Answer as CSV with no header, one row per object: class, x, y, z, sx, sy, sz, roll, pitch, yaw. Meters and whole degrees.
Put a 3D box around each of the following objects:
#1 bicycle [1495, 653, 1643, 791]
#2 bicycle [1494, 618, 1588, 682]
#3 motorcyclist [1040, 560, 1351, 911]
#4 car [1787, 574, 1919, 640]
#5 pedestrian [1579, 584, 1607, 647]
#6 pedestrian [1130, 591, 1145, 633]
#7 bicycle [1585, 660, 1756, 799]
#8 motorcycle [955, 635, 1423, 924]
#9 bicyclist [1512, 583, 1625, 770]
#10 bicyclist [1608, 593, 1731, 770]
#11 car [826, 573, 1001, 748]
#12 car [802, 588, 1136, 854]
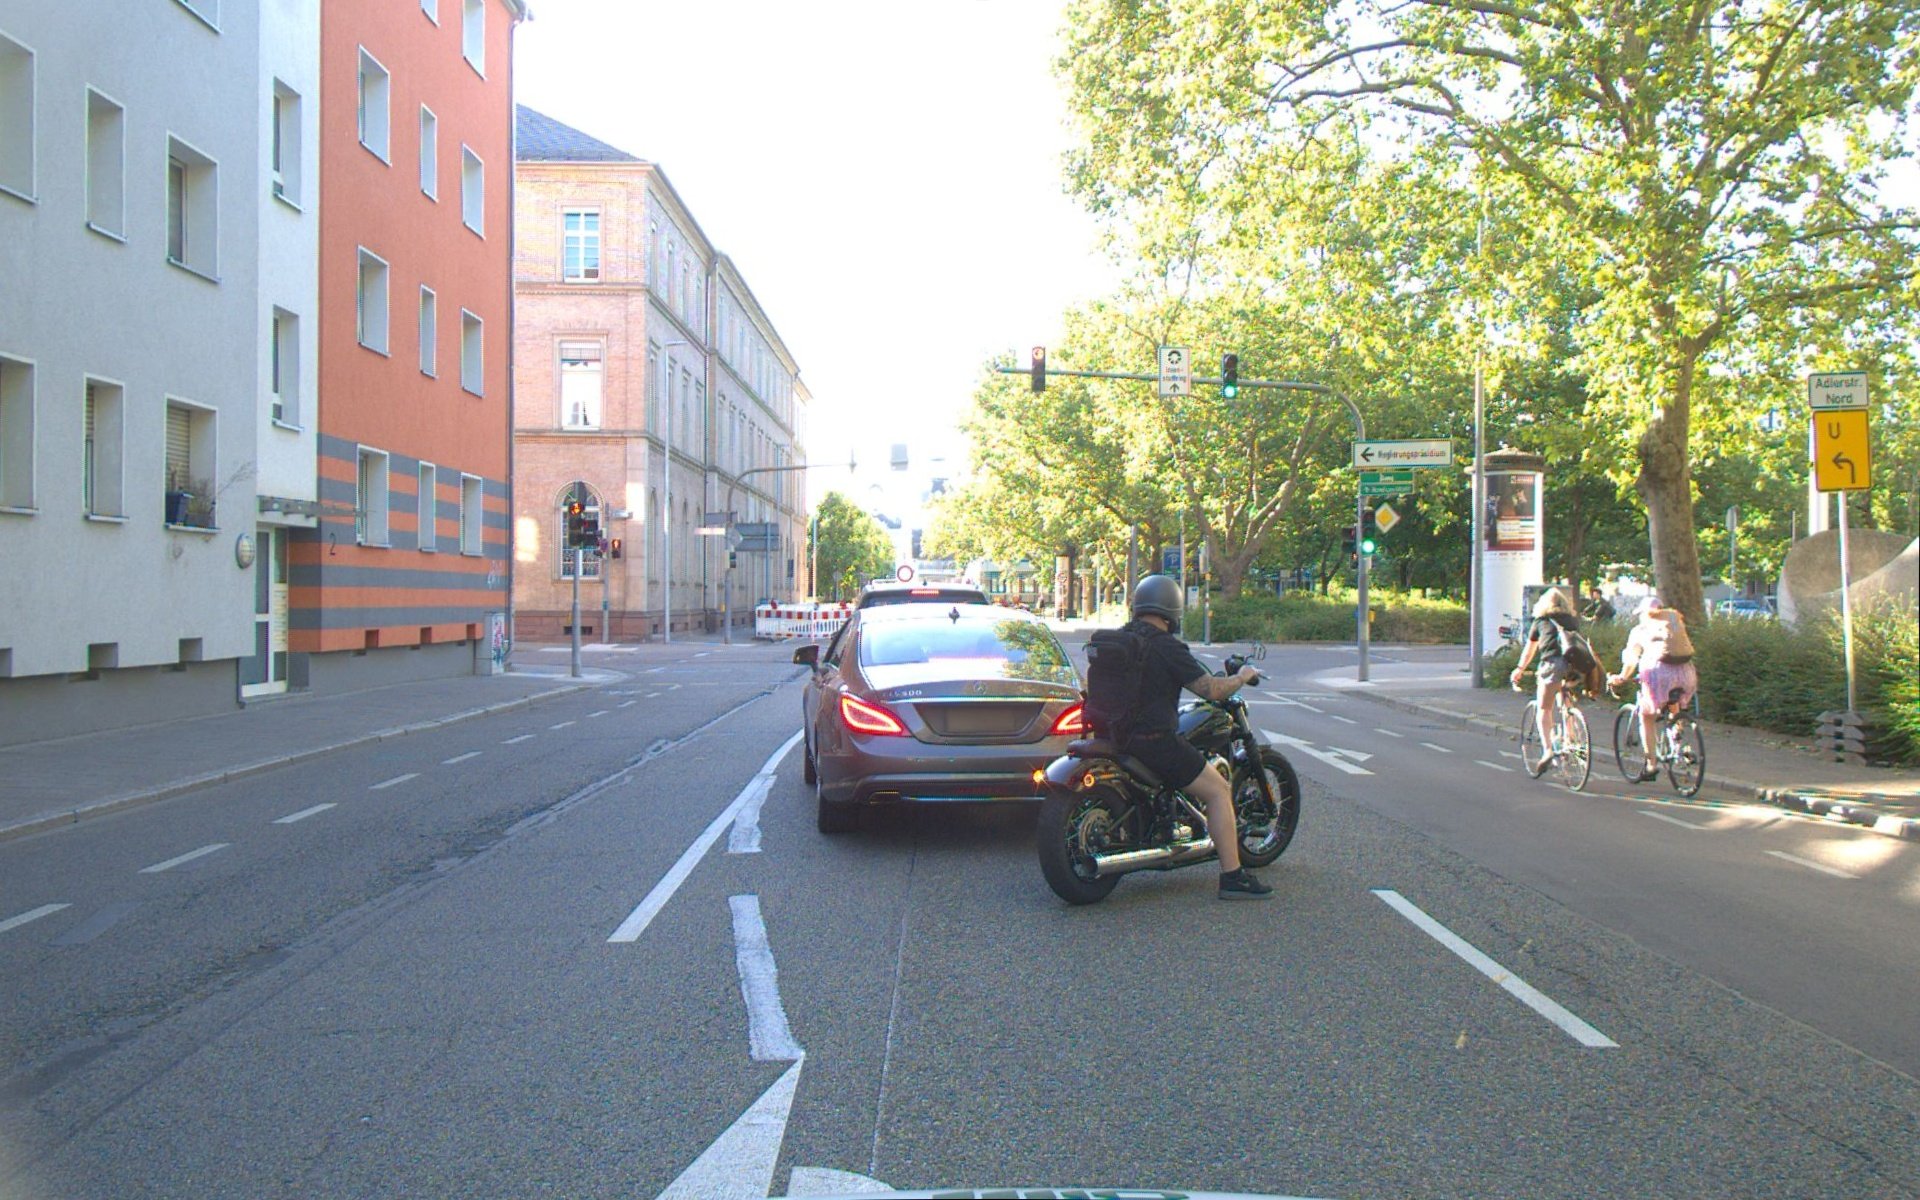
bicycle,5.243,1.021,14.335,0.598,1.044,1.731,2,0,-1
bicycle,9.695,0.831,27.604,1.387,1.055,0.538,0,0,-5
motorcyclist,1.218,0.629,8.555,1.192,1.641,1.099,0,0,-43
car,25.693,0.186,46.474,3.912,1.815,2.001,0,0,4
pedestrian,18.578,0.452,48.544,0.607,1.815,0.630,0,0,1
pedestrian,7.288,0.505,67.979,0.548,1.707,0.564,0,0,-1
bicycle,5.964,1.058,14.001,0.588,1.002,1.881,2,0,-1
motorcycle,1.272,0.828,8.647,2.643,1.225,0.995,0,0,-43
bicyclist,5.247,0.638,14.292,0.598,1.542,0.889,2,0,-1
bicyclist,5.975,0.663,13.971,0.588,1.426,0.931,2,0,-1
car,-0.507,0.576,17.619,1.647,1.653,3.839,0,0,-2
car,-0.143,0.681,11.634,1.787,1.502,4.346,0,0,-7
